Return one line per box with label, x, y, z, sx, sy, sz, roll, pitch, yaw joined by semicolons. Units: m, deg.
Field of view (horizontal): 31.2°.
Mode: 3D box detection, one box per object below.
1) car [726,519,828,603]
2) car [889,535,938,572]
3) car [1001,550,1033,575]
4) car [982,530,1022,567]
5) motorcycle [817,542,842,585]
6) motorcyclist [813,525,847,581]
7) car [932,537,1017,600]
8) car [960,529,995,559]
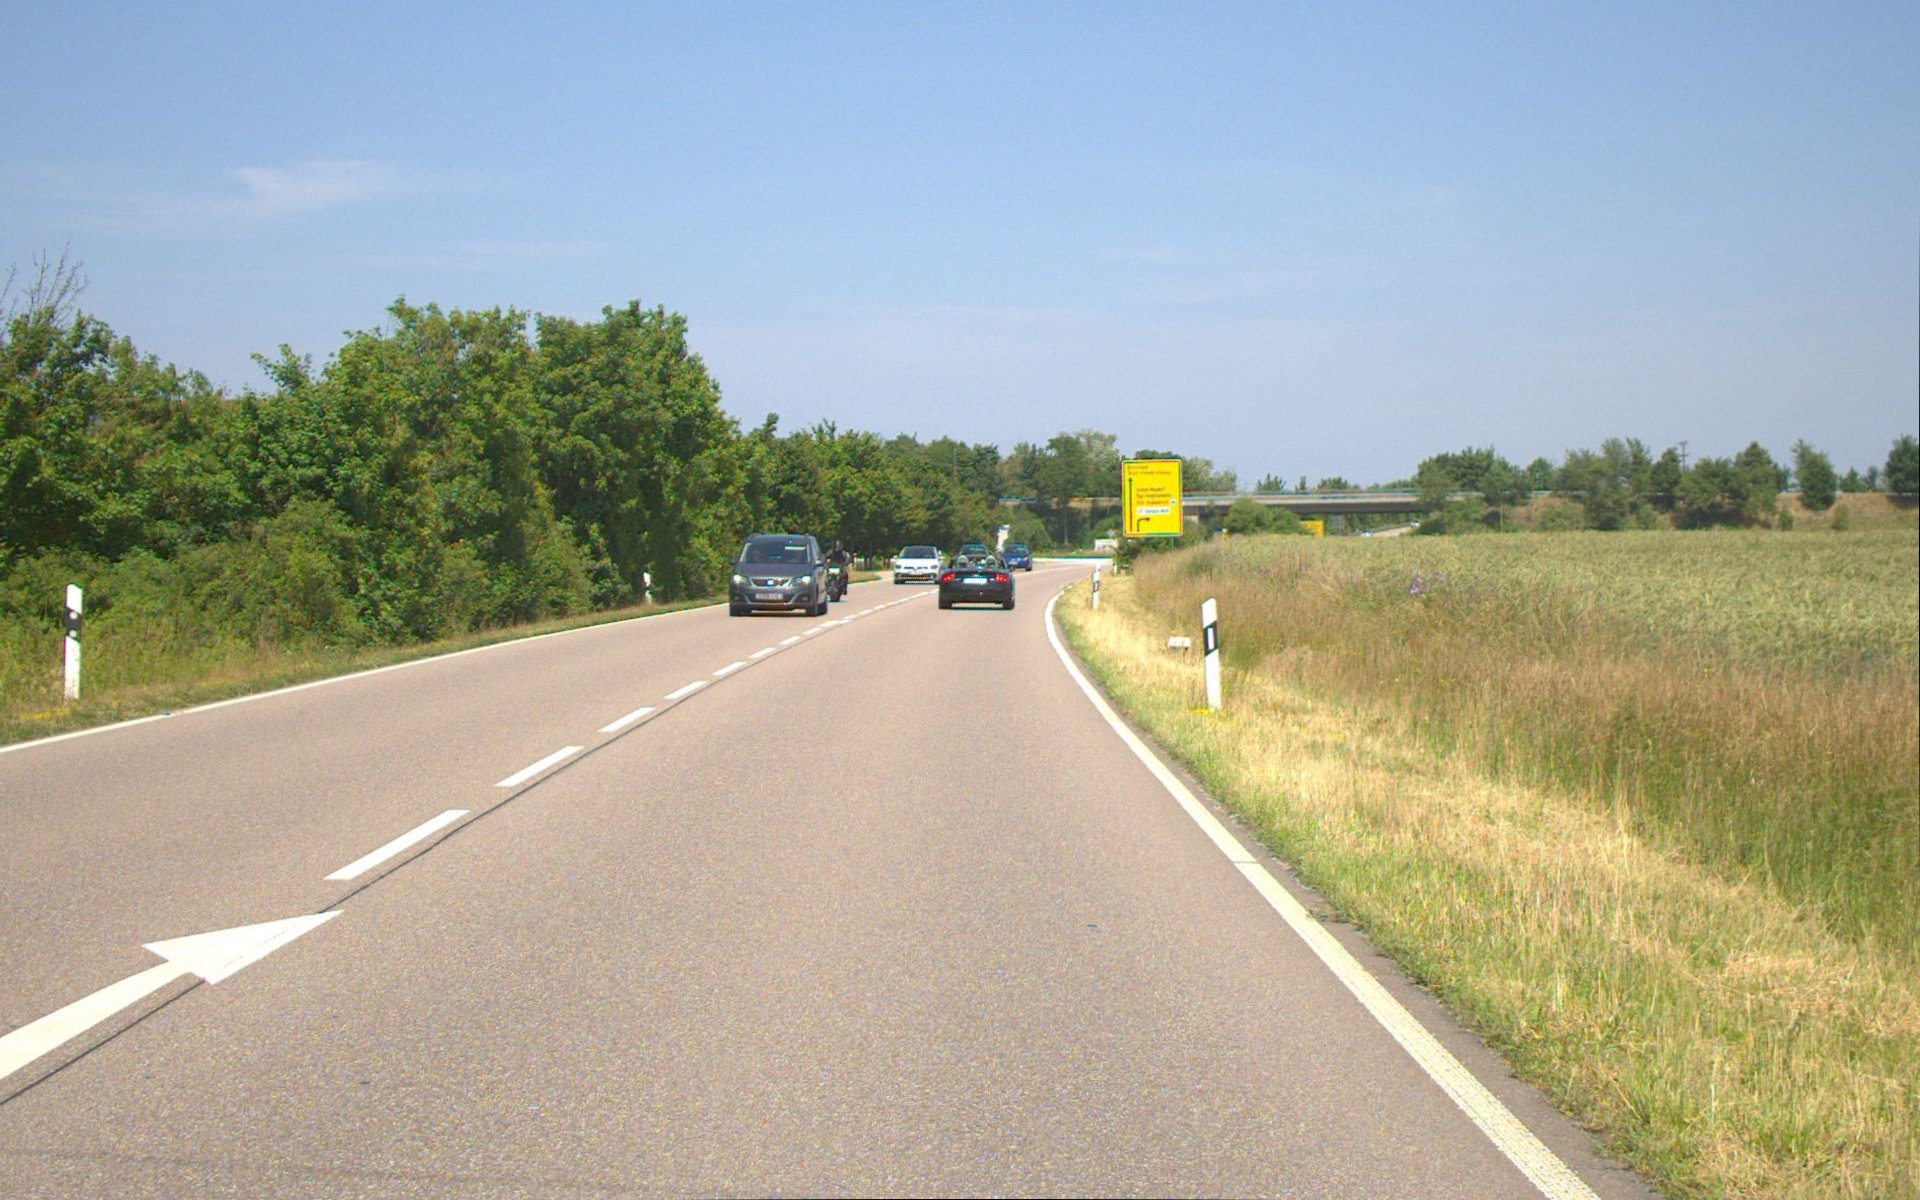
car;-3.821;-0.846;72.480;1.818;1.695;5.001;0;1;1
car;-1.755;-1.774;130.108;1.707;1.377;3.819;1;1;1
car;3.189;-2.091;191.372;1.506;1.324;3.401;1;0;5
car;2.335;-2.864;190.299;1.994;2.007;4.000;1;1;3
motorcycle;-3.436;-0.963;90.731;0.617;1.104;2.022;0;1;-1
motorcyclist;-3.423;-1.241;90.619;0.835;1.469;1.818;0;1;-1
car;0.368;-0.752;81.871;1.814;1.436;4.000;1;1;3
car;0.865;-2.744;168.530;1.597;1.437;4.000;1;1;2
